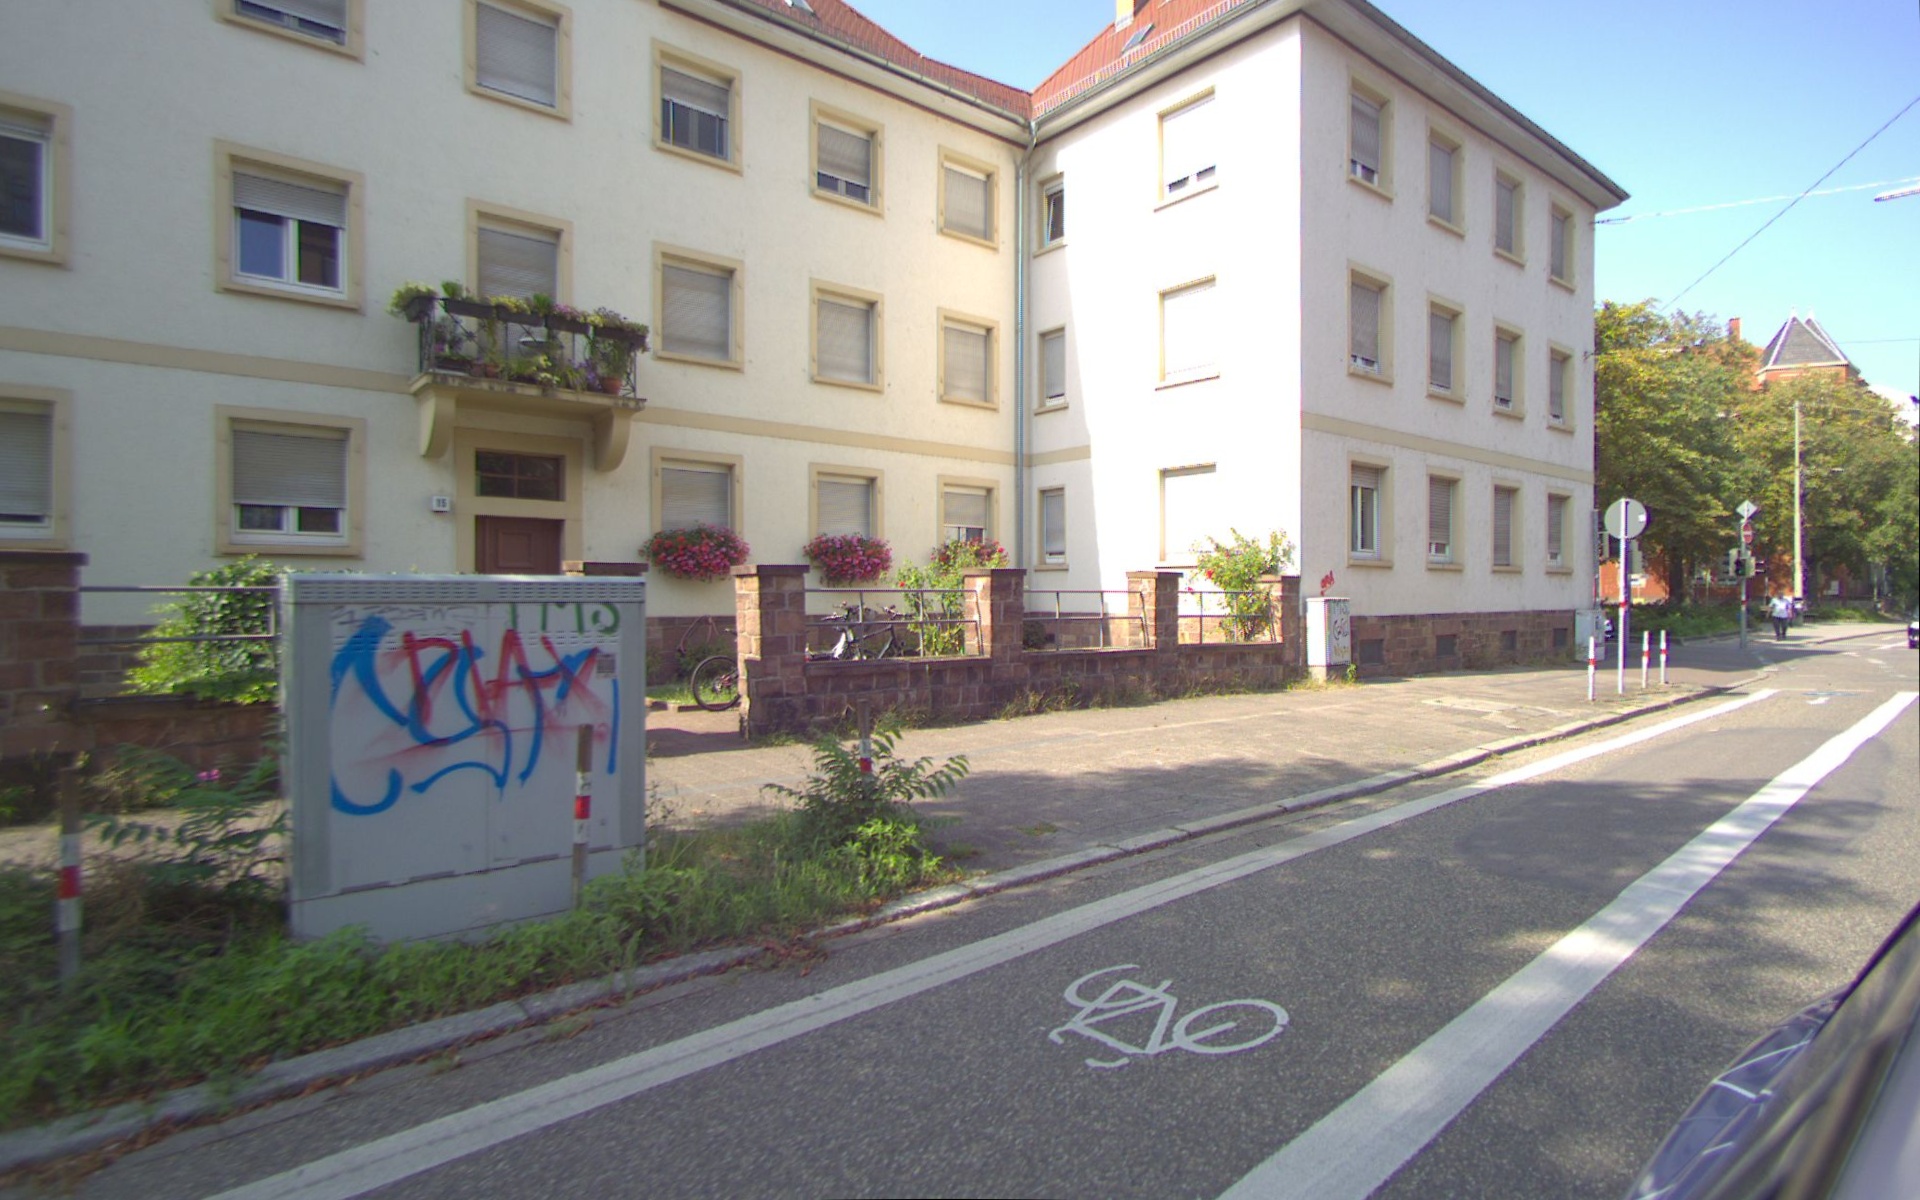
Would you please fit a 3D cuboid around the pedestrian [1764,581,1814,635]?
[{"bbox_3d":[28.294,0.255,34.534,0.952,1.745,1.079,0,3,-40],"label":"pedestrian"}]

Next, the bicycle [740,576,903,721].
[{"bbox_3d":[-1.474,0.485,10.923,1.706,1.473,0.455,-1,-1,-35],"label":"bicycle"}]

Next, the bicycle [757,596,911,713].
[{"bbox_3d":[-1.403,0.584,11.480,1.706,1.231,0.455,-1,-1,-35],"label":"bicycle"}]

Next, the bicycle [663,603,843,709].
[{"bbox_3d":[-2.405,0.624,11.843,1.986,1.140,0.523,-1,-1,-29],"label":"bicycle"}]

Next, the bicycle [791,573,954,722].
[{"bbox_3d":[-0.905,0.466,10.746,1.706,1.473,0.455,-1,-1,-35],"label":"bicycle"}]

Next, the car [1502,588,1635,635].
[{"bbox_3d":[21.743,0.367,36.436,1.841,1.487,4.953,2,1,1],"label":"car"}]

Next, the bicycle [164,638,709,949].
[{"bbox_3d":[-2.469,0.797,5.020,2.293,1.118,0.773,0,0,-42],"label":"bicycle"}]

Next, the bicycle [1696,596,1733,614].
[{"bbox_3d":[48.778,0.324,65.437,1.806,1.072,0.608,-1,-3,3],"label":"bicycle"}]
